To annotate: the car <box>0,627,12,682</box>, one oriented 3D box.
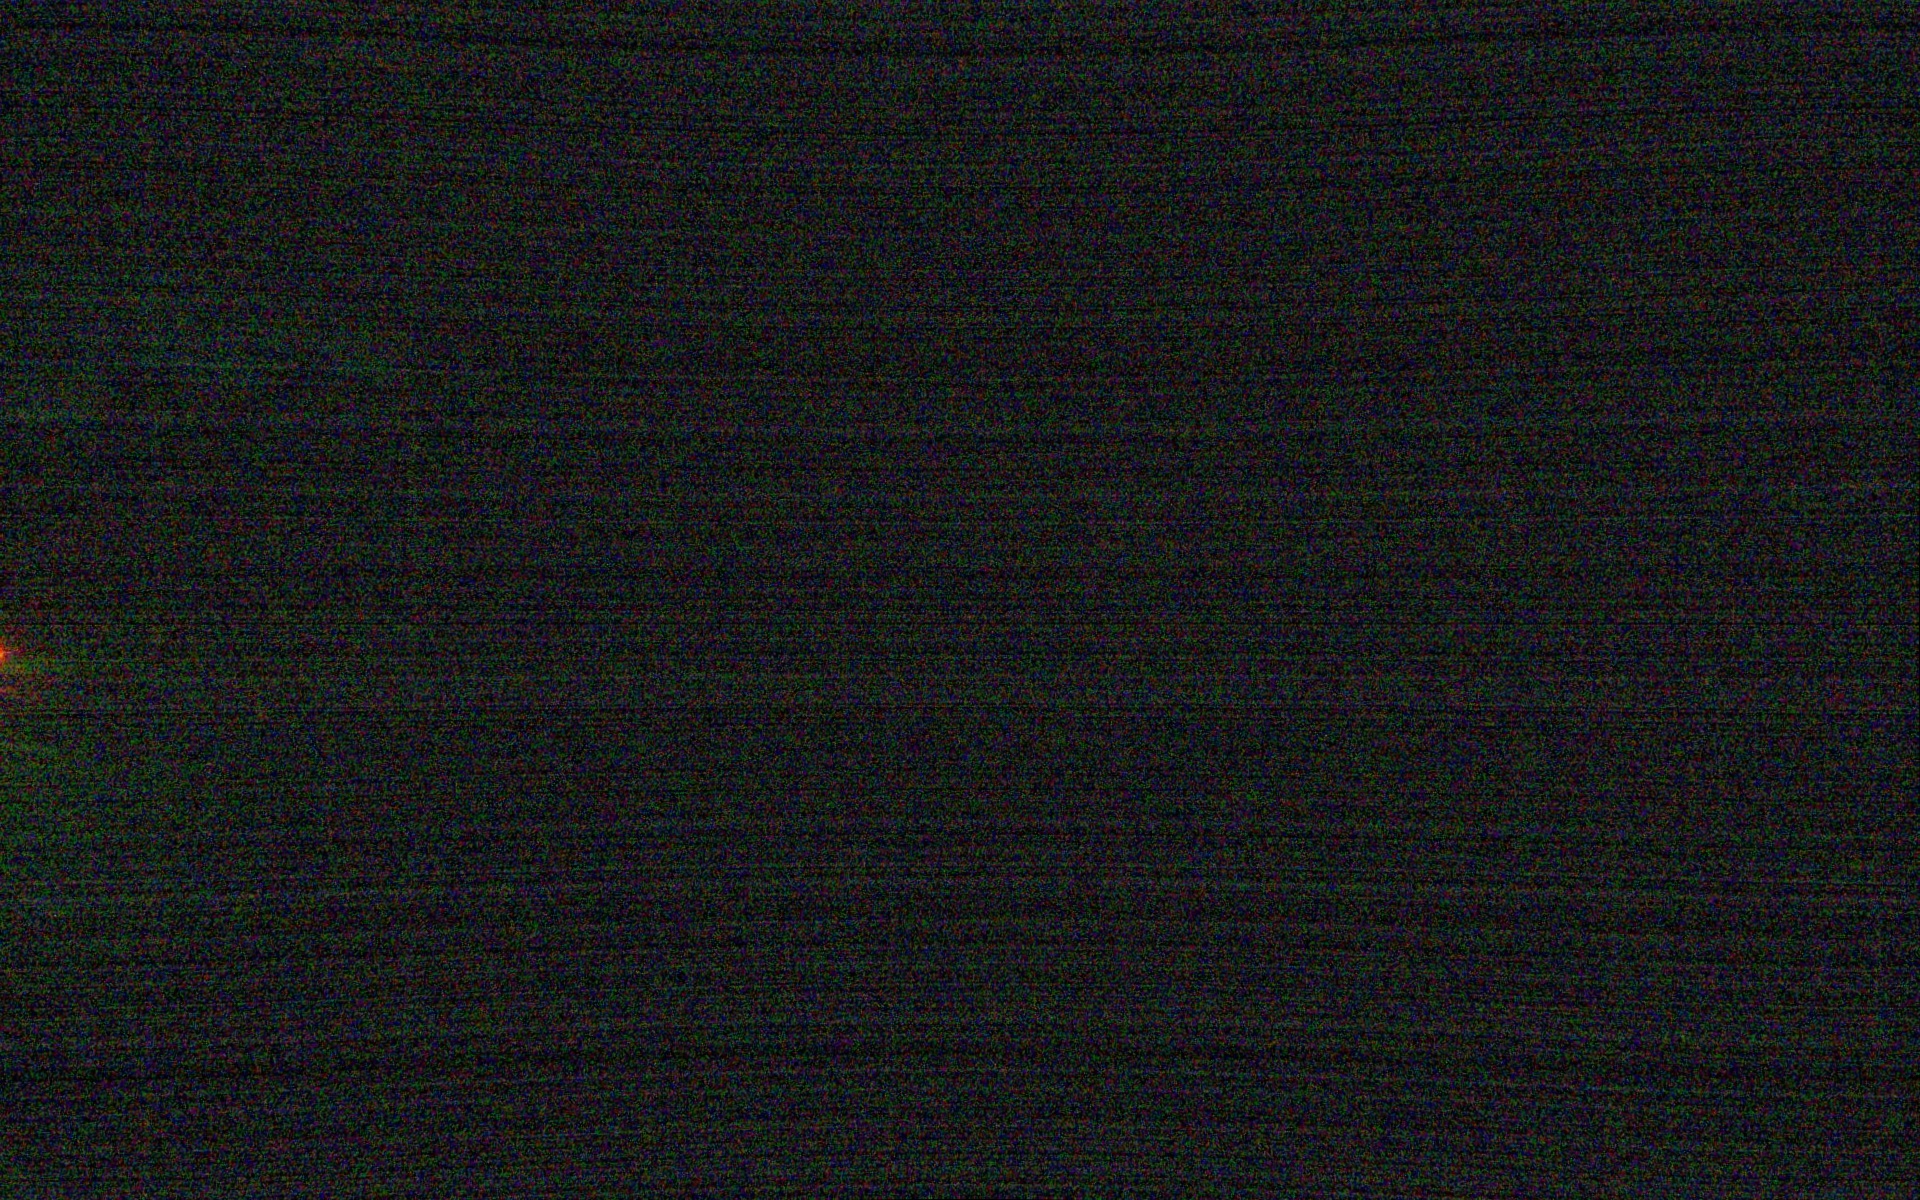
[{"bbox_3d":[-28.019,1.488,27.562,4.187,1.485,1.818,-1,-2,32],"label":"car"}]
